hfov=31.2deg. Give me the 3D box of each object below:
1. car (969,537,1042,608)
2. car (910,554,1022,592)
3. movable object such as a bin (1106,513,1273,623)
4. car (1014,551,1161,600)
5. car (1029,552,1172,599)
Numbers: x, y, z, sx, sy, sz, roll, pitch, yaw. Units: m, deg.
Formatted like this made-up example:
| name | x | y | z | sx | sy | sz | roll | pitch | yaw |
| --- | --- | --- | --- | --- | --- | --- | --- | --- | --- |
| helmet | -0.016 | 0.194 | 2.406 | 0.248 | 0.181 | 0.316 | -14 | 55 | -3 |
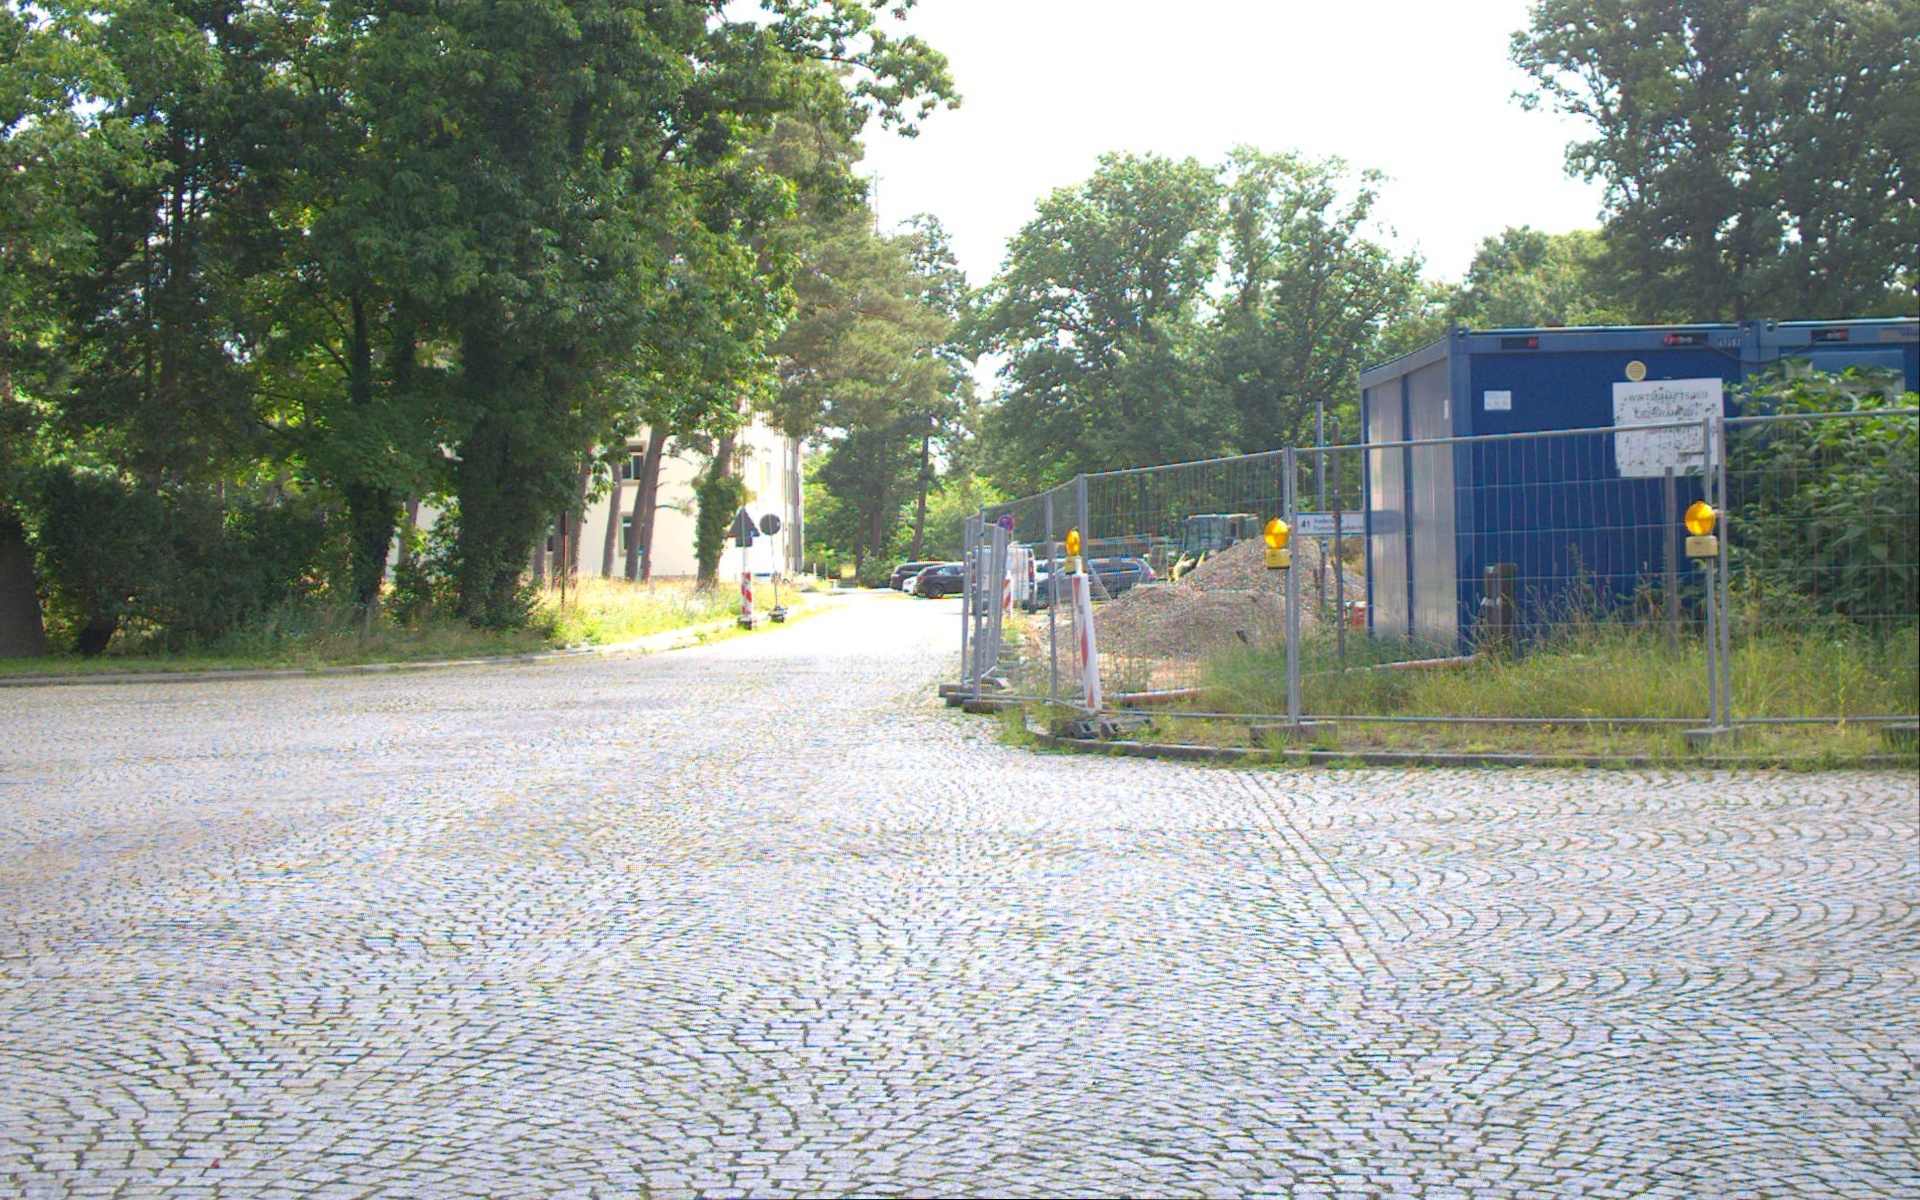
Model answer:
| name | x | y | z | sx | sy | sz | roll | pitch | yaw |
| --- | --- | --- | --- | --- | --- | --- | --- | --- | --- |
| car | 1.317 | -0.810 | 100.598 | 1.993 | 2.007 | 4.091 | -1 | 0 | -1 |
| car | 0.244 | -1.208 | 152.477 | 4.779 | 1.635 | 2.000 | -1 | 0 | -5 |
| movable object such as a bin | 5.610 | -0.788 | 83.500 | 2.132 | 2.584 | 4.783 | -1 | 1 | 30 |
| car | 4.022 | -0.766 | 107.933 | 4.404 | 1.505 | 1.999 | 0 | 1 | 9 |
| car | 4.539 | -0.793 | 110.675 | 4.404 | 1.505 | 1.999 | 0 | 1 | 9 |
